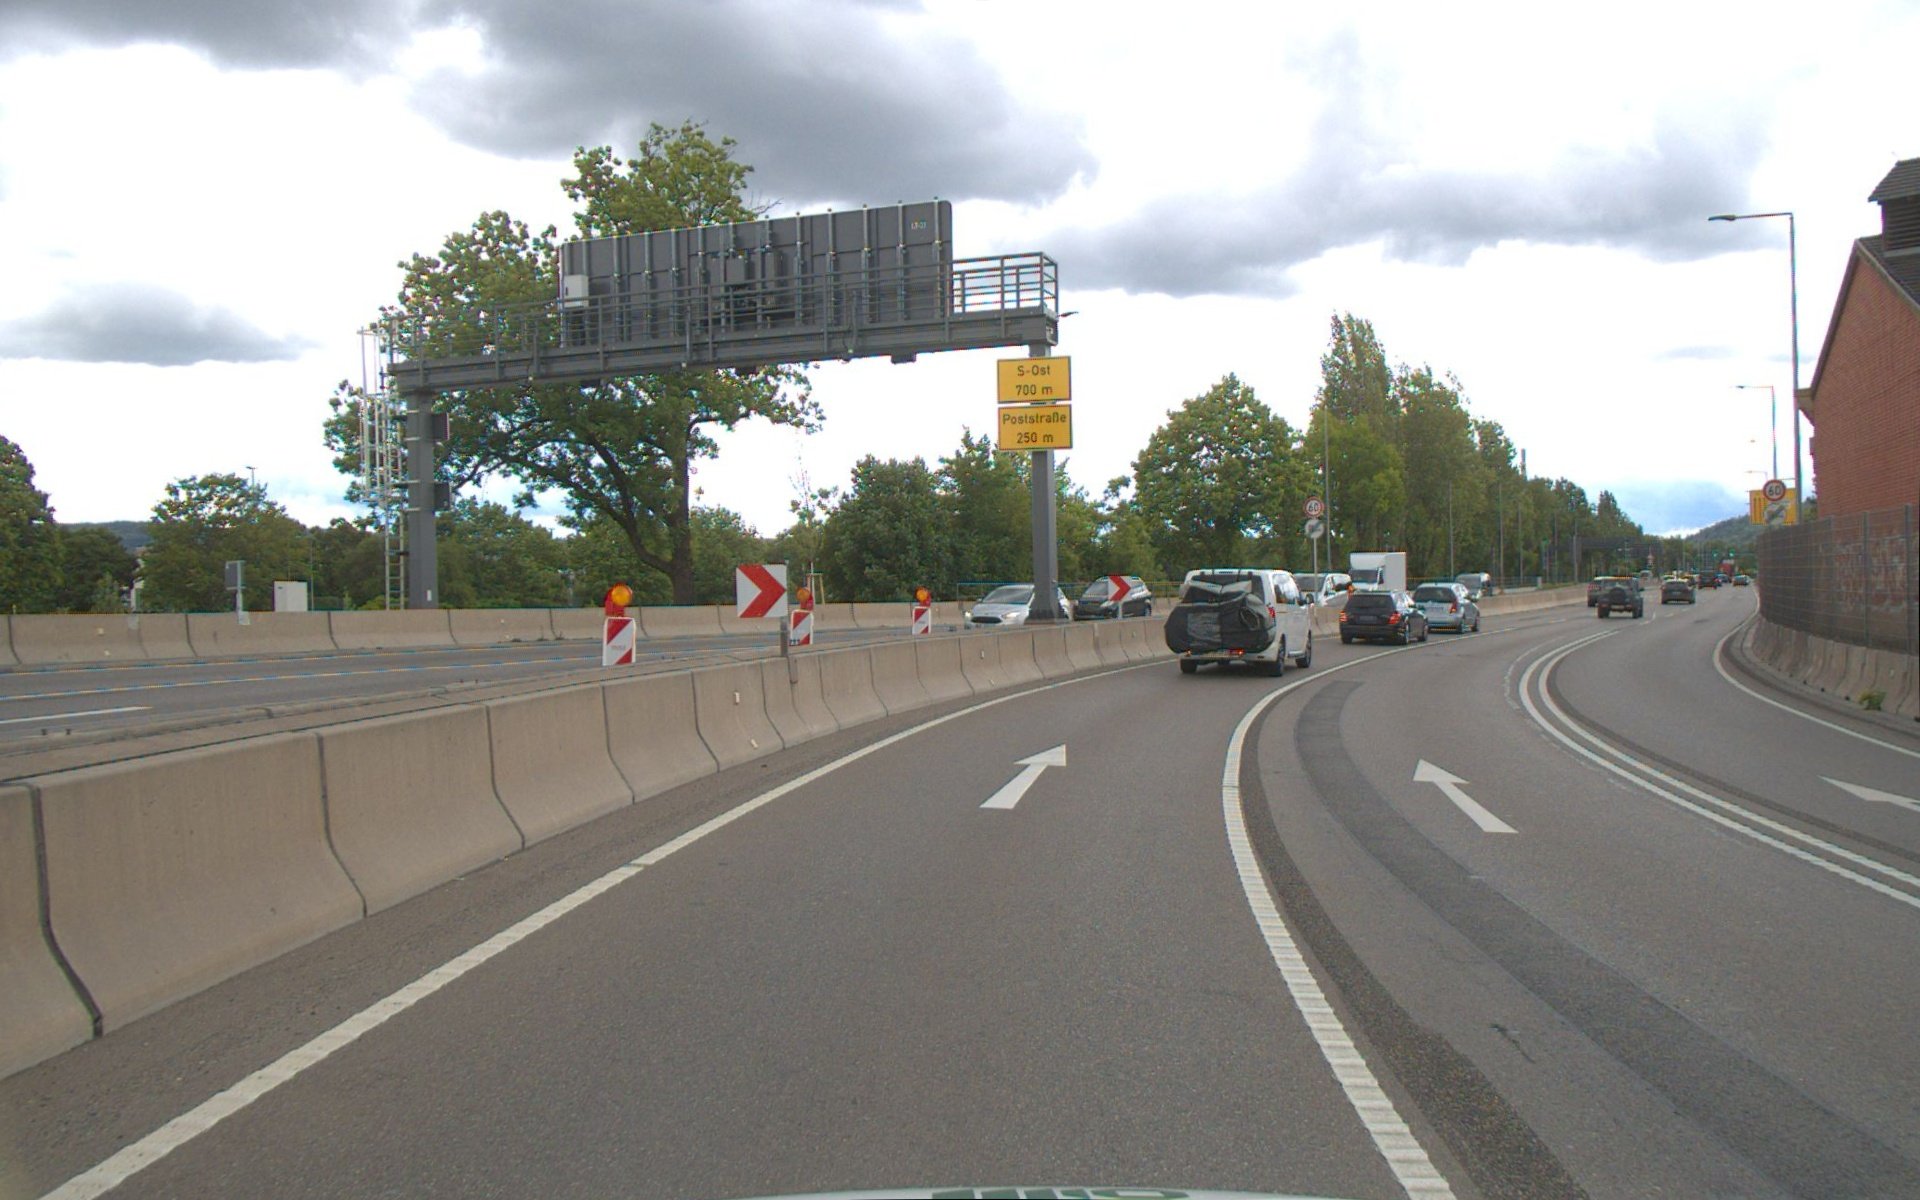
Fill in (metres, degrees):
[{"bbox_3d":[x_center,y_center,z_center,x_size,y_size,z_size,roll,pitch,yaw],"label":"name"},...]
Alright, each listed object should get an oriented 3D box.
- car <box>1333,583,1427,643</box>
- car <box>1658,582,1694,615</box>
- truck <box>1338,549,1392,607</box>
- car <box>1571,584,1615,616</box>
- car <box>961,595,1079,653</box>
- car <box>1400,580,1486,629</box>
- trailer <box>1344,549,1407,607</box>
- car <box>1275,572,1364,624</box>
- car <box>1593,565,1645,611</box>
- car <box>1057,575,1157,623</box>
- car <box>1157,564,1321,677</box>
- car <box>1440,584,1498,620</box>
[{"bbox_3d":[11.378,0.321,44.607,1.778,1.459,4.064,-2,0,24],"label":"car"},{"bbox_3d":[42.848,-0.062,98.953,1.953,1.937,3.998,-1,-1,24],"label":"car"},{"bbox_3d":[22.569,-1.244,92.157,2.229,3.168,2.983,1,0,28],"label":"truck"},{"bbox_3d":[35.387,0.013,92.403,1.954,1.702,3.996,1,0,26],"label":"car"},{"bbox_3d":[1.697,0.605,45.047,1.757,1.446,4.649,1,1,22],"label":"car"},{"bbox_3d":[15.504,0.119,52.962,1.883,1.515,4.060,0,1,27],"label":"car"},{"bbox_3d":[23.802,-1.228,94.522,2.228,3.192,5.704,1,1,27],"label":"trailer"},{"bbox_3d":[13.426,-0.089,61.475,1.913,1.838,5.788,1,1,26],"label":"car"},{"bbox_3d":[28.381,-0.496,71.175,1.953,1.892,3.999,-1,-1,23],"label":"car"},{"bbox_3d":[5.531,-0.061,61.676,1.956,1.701,4.721,1,1,29],"label":"car"},{"bbox_3d":[5.291,0.311,30.666,1.952,1.891,5.642,0,1,21],"label":"car"},{"bbox_3d":[26.874,0.108,87.230,1.866,1.837,4.945,1,0,30],"label":"car"}]
